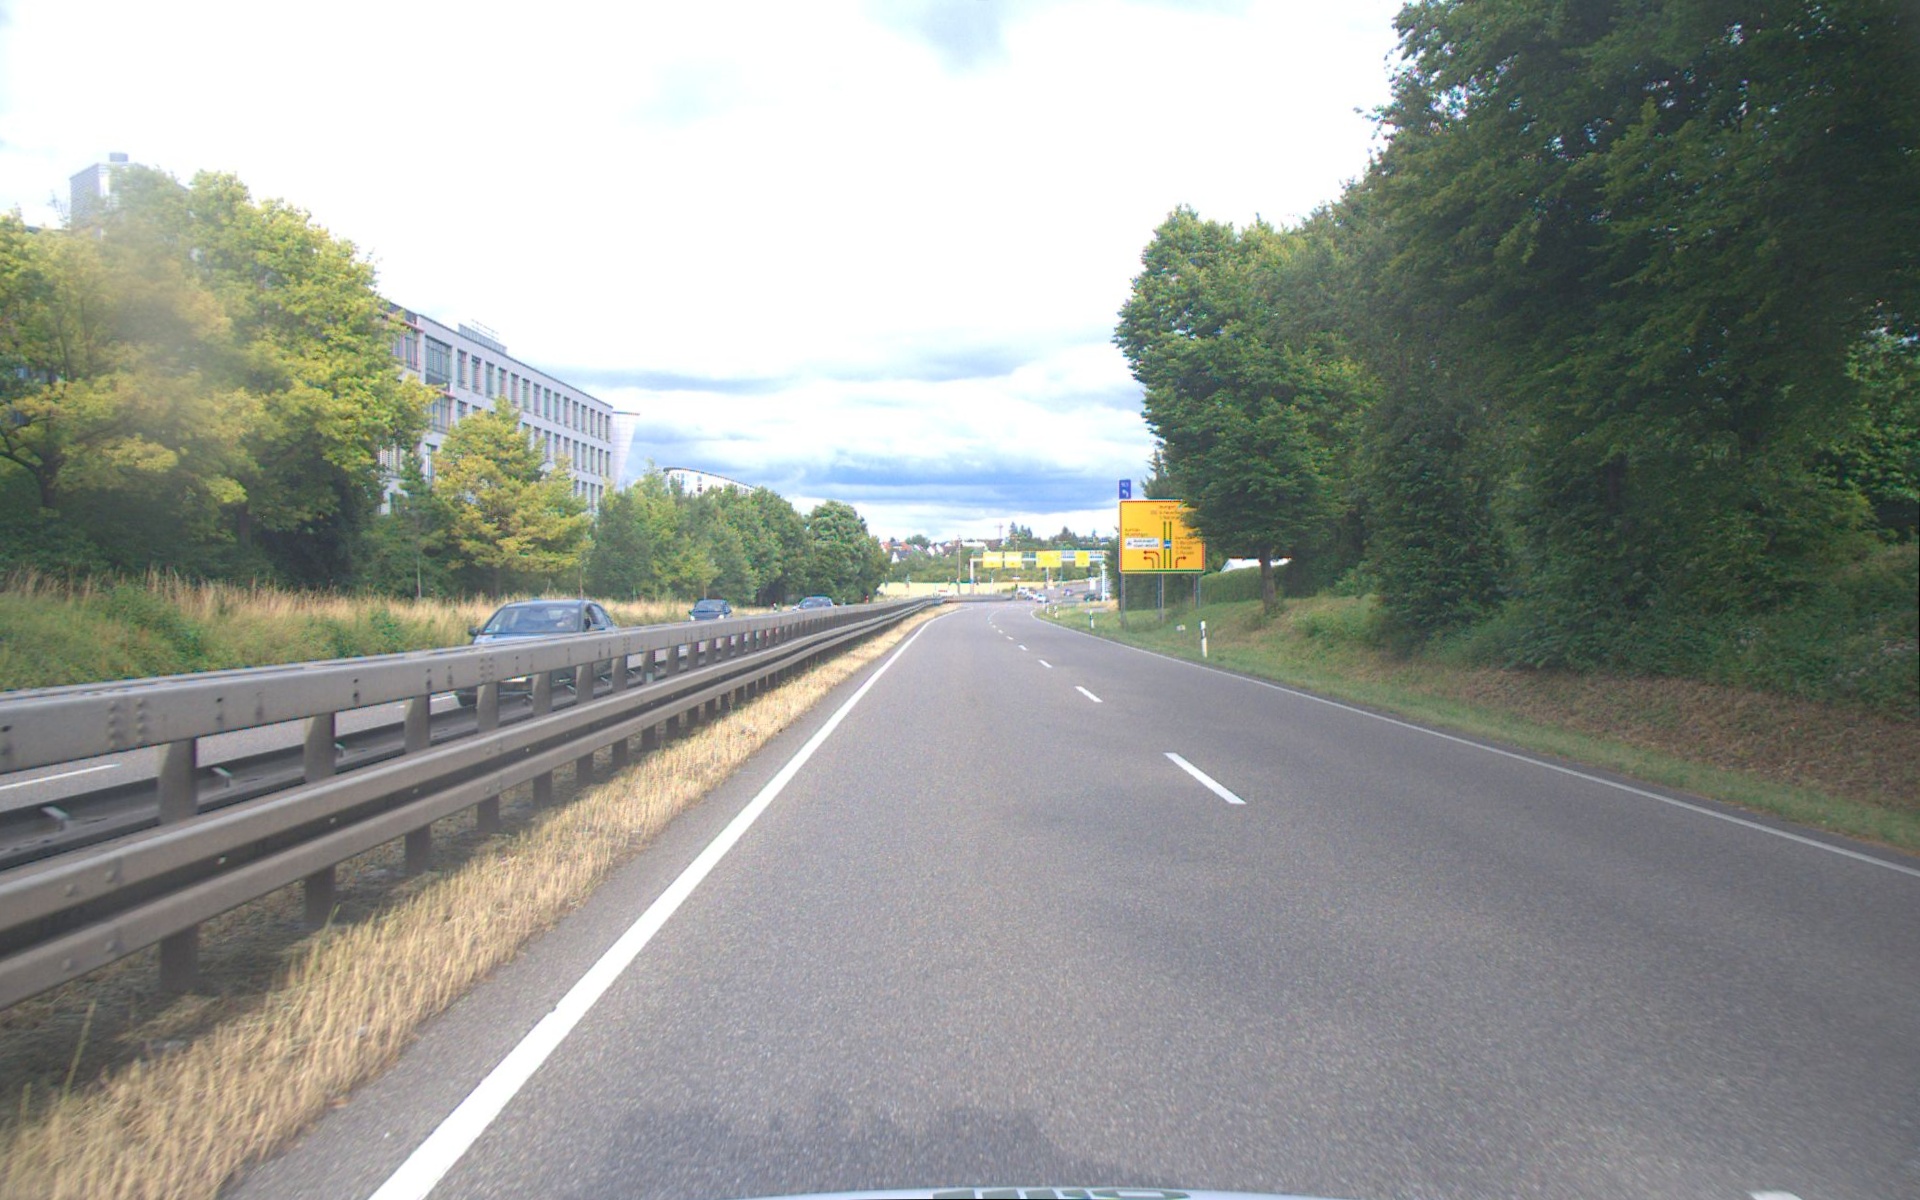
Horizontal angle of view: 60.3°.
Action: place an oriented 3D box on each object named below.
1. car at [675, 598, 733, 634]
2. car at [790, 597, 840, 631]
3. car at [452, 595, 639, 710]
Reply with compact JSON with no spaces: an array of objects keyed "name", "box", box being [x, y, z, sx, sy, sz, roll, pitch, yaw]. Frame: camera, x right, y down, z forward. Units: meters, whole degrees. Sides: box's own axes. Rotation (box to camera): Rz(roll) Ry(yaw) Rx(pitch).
[{"name":"car","box":[-10.812,0.669,70.148,1.720,1.447,4.566,0,0,0]},{"name":"car","box":[-6.205,0.584,71.307,1.797,1.403,4.565,0,0,-1]},{"name":"car","box":[-6.009,0.703,24.466,1.707,1.483,4.311,-2,0,-1]}]
